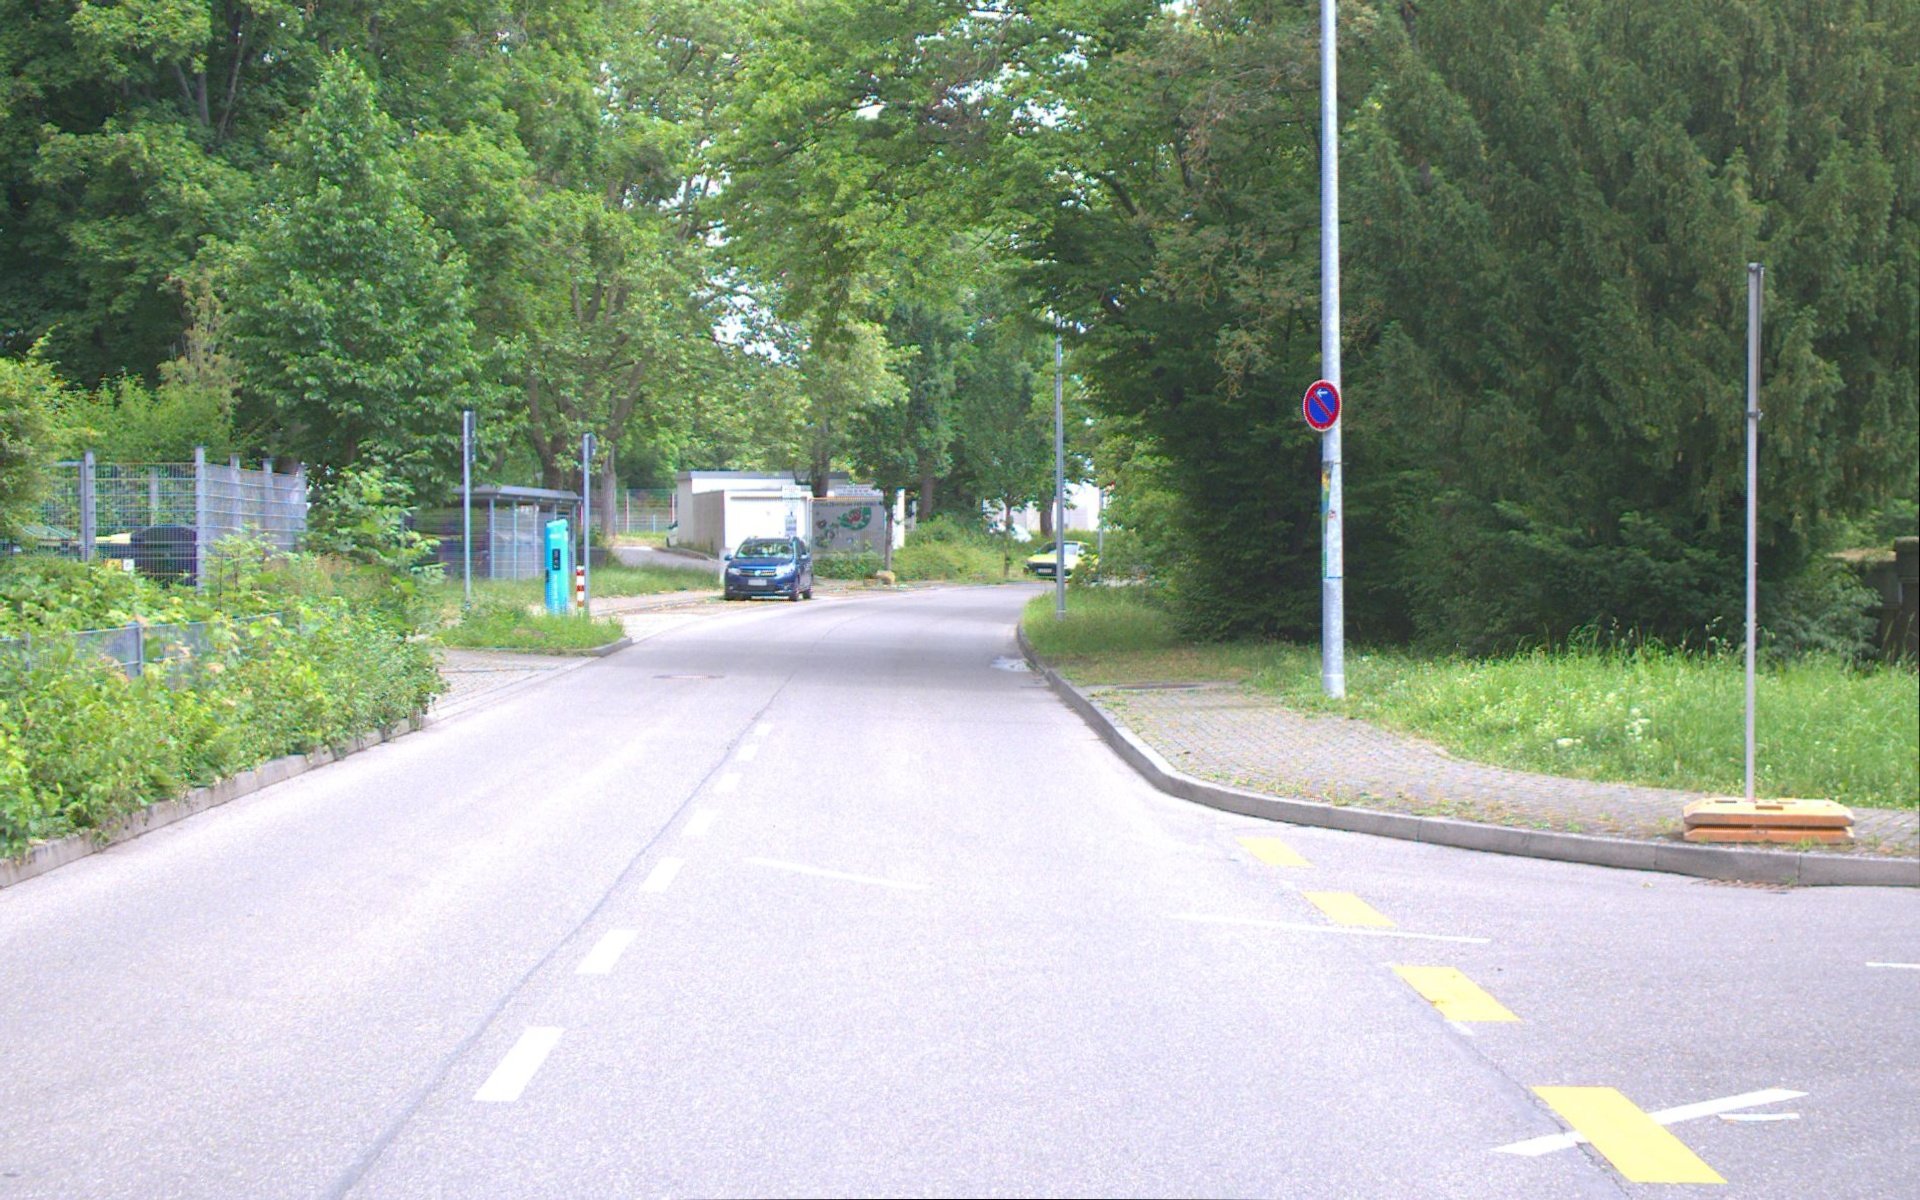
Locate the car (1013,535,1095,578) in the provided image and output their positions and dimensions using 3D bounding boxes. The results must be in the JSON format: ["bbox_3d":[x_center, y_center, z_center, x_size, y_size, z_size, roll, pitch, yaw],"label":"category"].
[{"bbox_3d":[3.272,-1.504,119.183,1.701,1.398,4.270,2,1,17],"label":"car"}]

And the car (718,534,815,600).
[{"bbox_3d":[-4.569,-0.801,81.757,1.680,1.506,4.430,1,1,5],"label":"car"}]
